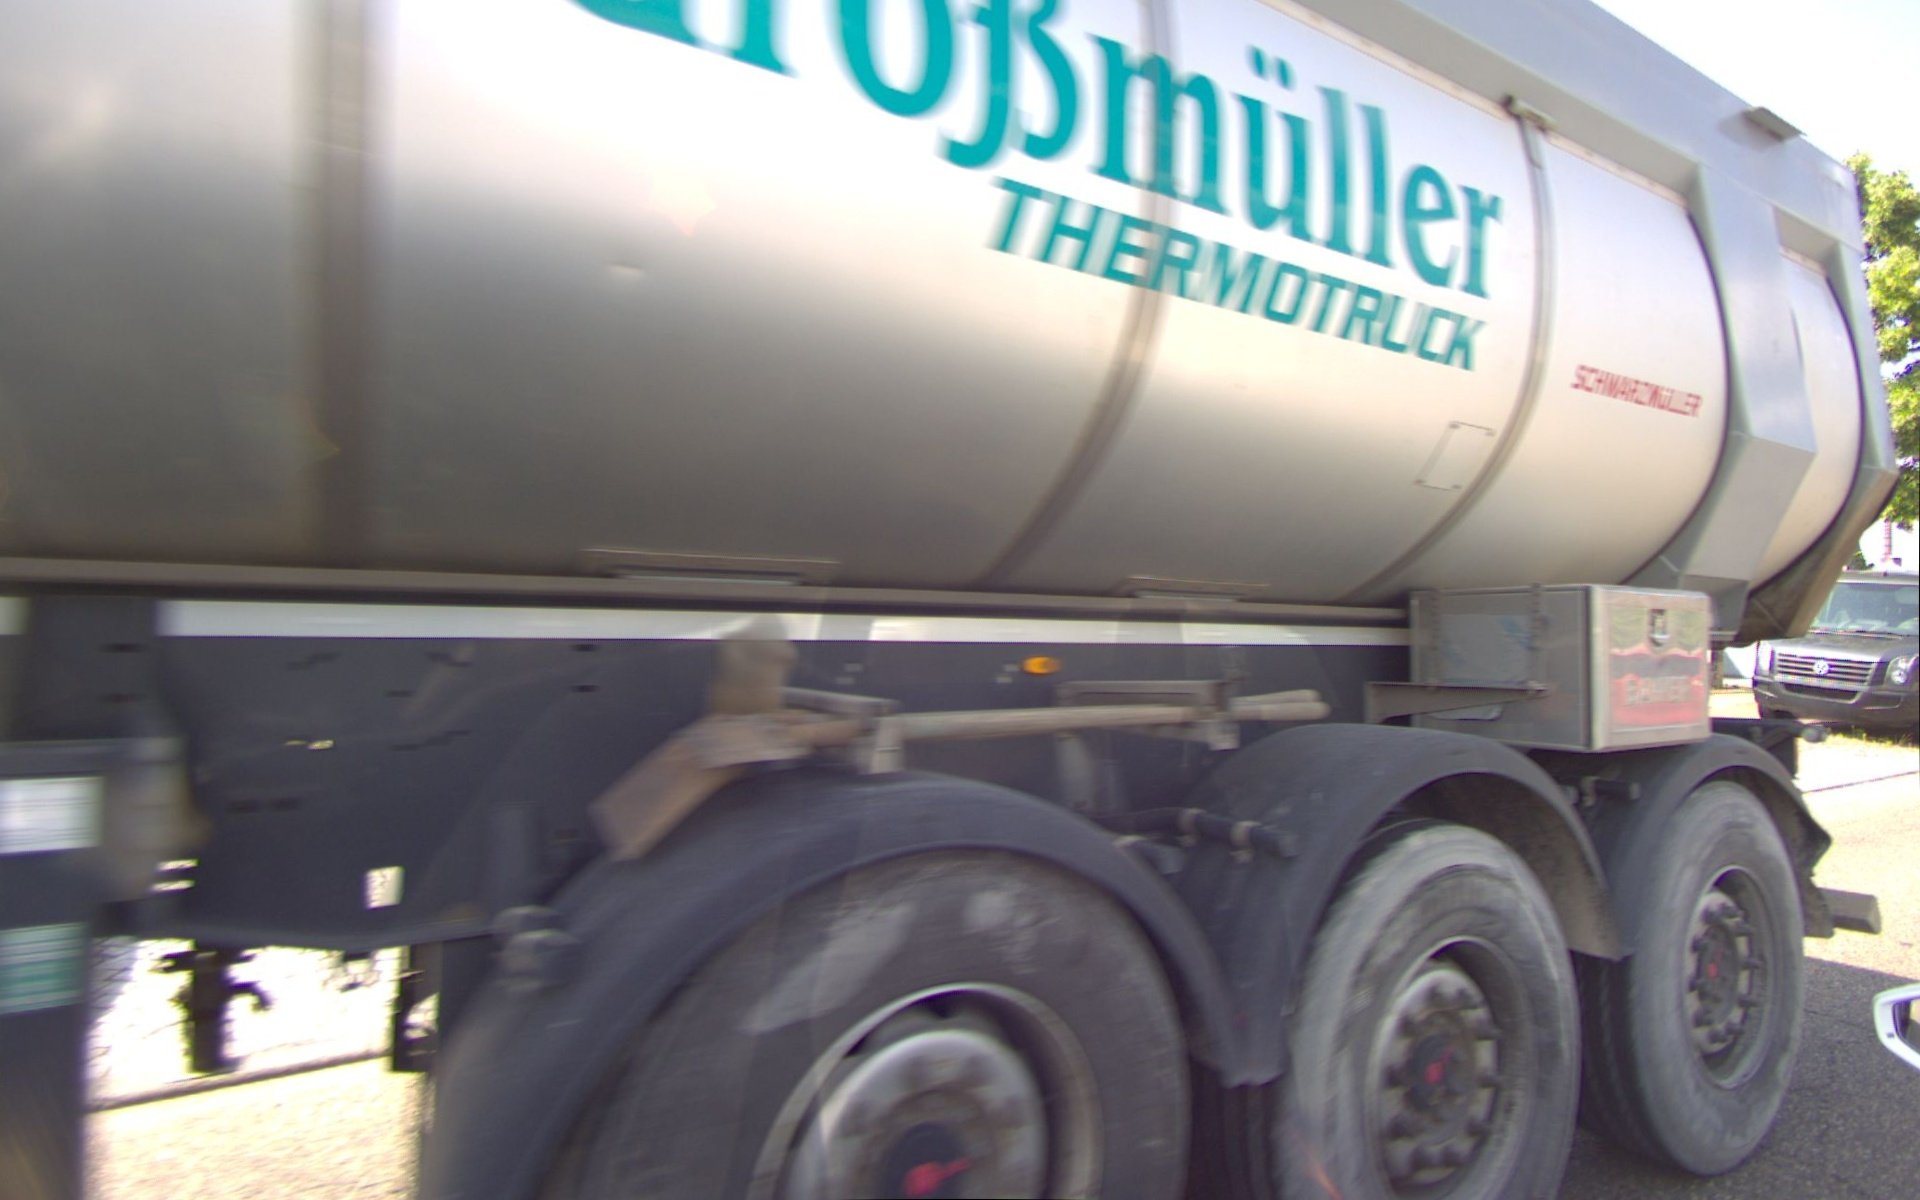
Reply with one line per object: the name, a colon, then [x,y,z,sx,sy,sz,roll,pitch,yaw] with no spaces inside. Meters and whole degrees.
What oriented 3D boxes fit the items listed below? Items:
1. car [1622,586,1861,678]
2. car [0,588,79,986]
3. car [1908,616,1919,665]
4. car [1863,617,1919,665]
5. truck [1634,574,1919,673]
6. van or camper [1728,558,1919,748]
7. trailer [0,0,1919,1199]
car: [21.455,0.836,27.894,1.968,2.261,4.999,2,-1,-17]
car: [-5.973,0.727,3.090,4.658,1.481,1.738,0,3,-33]
car: [36.931,1.506,35.866,1.804,1.812,4.129,2,-1,-27]
car: [34.201,1.423,34.597,1.806,1.636,4.273,1,-1,-30]
truck: [27.721,0.756,32.998,2.684,2.894,9.230,1,-1,-25]
van or camper: [14.101,0.696,14.880,5.860,2.348,1.985,1,3,-28]
trailer: [-0.512,-0.066,2.600,8.794,3.109,2.818,2,-1,-33]
